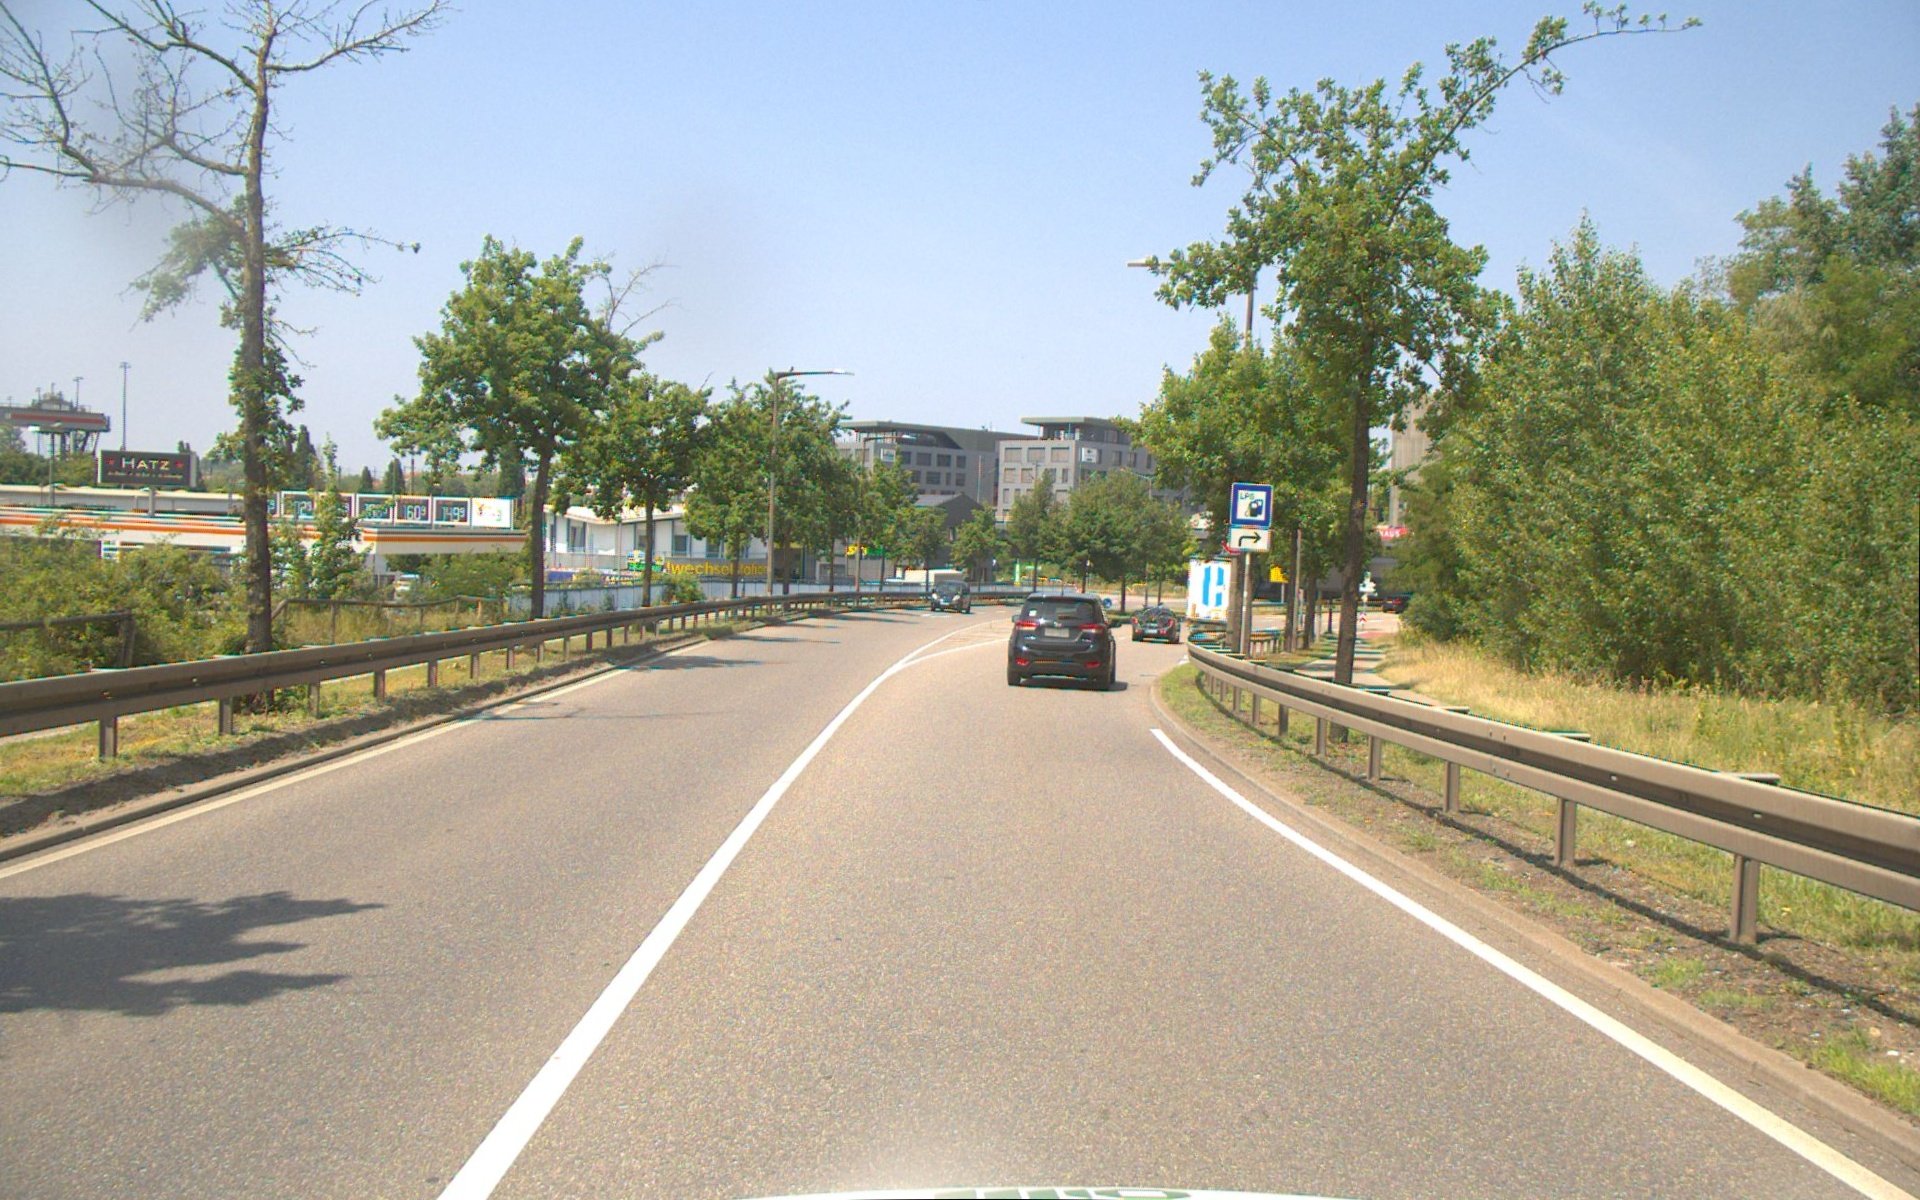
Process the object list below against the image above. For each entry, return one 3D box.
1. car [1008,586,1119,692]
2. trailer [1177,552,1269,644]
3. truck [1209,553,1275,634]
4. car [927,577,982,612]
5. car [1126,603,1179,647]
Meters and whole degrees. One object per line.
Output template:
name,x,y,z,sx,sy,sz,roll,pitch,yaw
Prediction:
car,1.871,0.652,29.013,1.730,1.627,4.080,3,0,5
trailer,14.328,-0.242,89.038,3.013,4.444,14.785,3,2,16
truck,16.544,-0.427,96.832,3.011,4.444,6.083,3,2,16
car,-0.260,-0.282,93.747,1.769,1.789,4.253,3,0,18
car,7.866,0.979,67.225,1.915,1.662,4.283,2,0,9
